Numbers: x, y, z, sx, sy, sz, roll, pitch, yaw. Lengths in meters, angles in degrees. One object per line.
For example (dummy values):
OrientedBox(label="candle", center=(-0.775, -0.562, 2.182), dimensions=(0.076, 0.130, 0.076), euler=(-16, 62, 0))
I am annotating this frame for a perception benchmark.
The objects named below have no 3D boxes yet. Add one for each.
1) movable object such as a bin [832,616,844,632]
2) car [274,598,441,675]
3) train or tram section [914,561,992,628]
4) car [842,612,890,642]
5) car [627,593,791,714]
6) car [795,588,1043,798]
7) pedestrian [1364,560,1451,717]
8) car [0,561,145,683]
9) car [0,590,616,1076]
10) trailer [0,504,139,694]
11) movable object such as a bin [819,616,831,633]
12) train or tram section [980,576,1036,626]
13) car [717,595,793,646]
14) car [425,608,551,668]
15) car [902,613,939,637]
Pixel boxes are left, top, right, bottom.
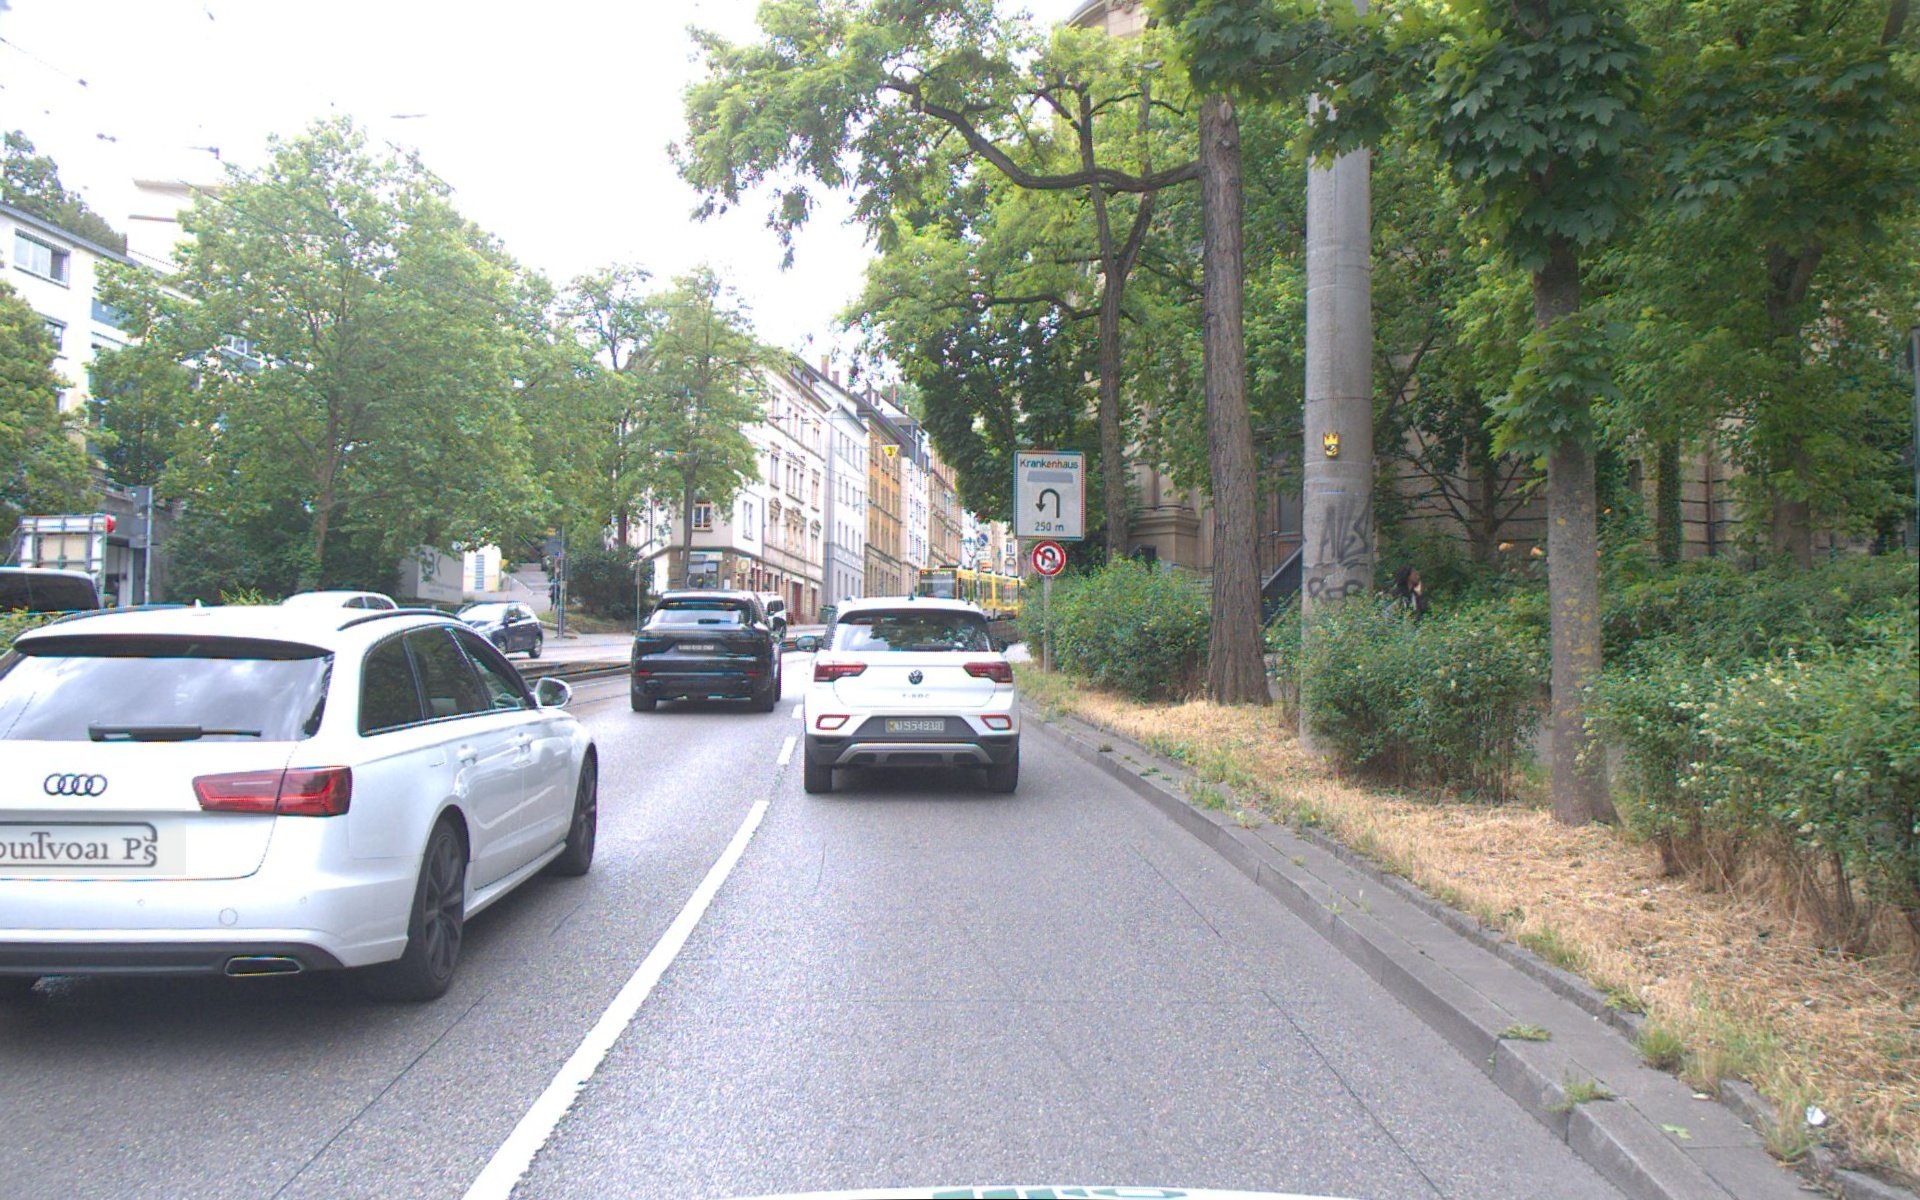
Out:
OrientedBox(label="movable object such as a bin", center=(-8.313, 1.660, 112.584), dimensions=(0.712, 1.092, 0.672), euler=(0, -1, 8))
OrientedBox(label="car", center=(-12.211, 0.711, 33.770), dimensions=(1.623, 1.468, 3.742), euler=(-1, 0, 8))
OrientedBox(label="train or tram section", center=(-0.272, -0.233, 102.932), dimensions=(2.821, 3.791, 14.867), euler=(1, 0, 7))
OrientedBox(label="car", center=(-5.056, 1.432, 89.196), dimensions=(1.951, 1.579, 4.002), euler=(-1, -1, 6))
OrientedBox(label="car", center=(-3.545, 0.727, 24.061), dimensions=(1.998, 1.599, 4.354), euler=(0, -1, -4))
OrientedBox(label="car", center=(-0.502, 0.715, 14.531), dimensions=(1.843, 1.582, 3.994), euler=(0, -1, -7))
OrientedBox(label="pedestrian", center=(5.069, 0.429, 18.782), dimensions=(0.755, 1.733, 0.785), euler=(0, -1, 0))
OrientedBox(label="car", center=(-13.738, 0.311, 23.161), dimensions=(1.951, 1.633, 4.613), euler=(-1, 0, 7))
OrientedBox(label="car", center=(-2.852, 0.730, 7.362), dimensions=(1.841, 1.480, 4.615), euler=(0, -1, -2))
OrientedBox(label="trailer", center=(-16.240, -0.033, 27.143), dimensions=(1.976, 3.025, 5.594), euler=(1, 0, 9))
OrientedBox(label="movable object such as a bin", center=(-8.832, 1.617, 108.372), dimensions=(0.672, 1.092, 0.677), euler=(0, -1, 8))
OrientedBox(label="train or tram section", center=(4.176, 0.177, 138.146), dimensions=(2.815, 3.791, 18.770), euler=(1, 0, 7))
OrientedBox(label="car", center=(-8.264, 0.795, 67.196), dimensions=(1.906, 1.980, 5.006), euler=(0, 0, 7))
OrientedBox(label="car", center=(-11.931, 0.931, 42.054), dimensions=(1.729, 1.432, 4.085), euler=(-1, 0, 5))
OrientedBox(label="car", center=(-2.579, 1.624, 108.626), dimensions=(1.951, 1.579, 4.002), euler=(-1, -1, 6))
